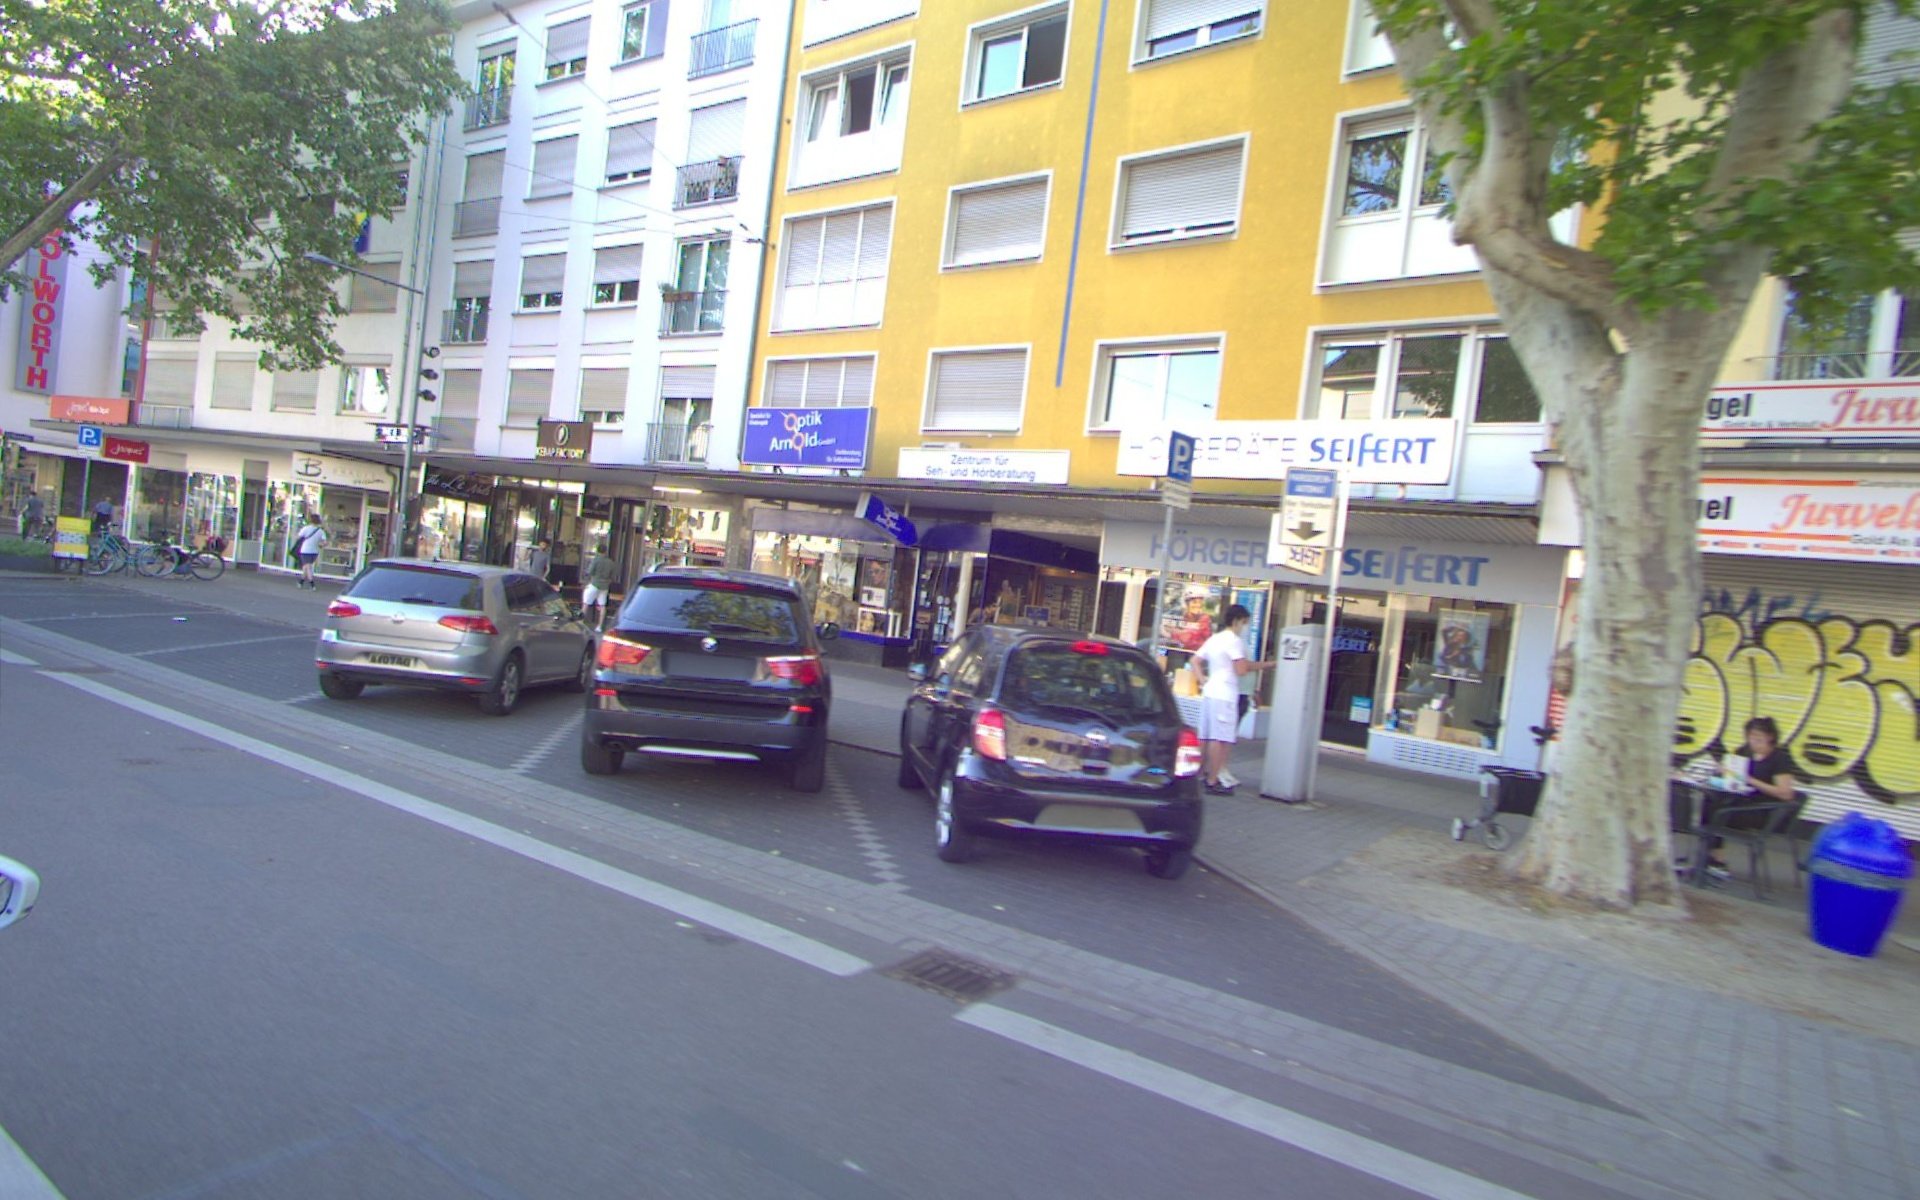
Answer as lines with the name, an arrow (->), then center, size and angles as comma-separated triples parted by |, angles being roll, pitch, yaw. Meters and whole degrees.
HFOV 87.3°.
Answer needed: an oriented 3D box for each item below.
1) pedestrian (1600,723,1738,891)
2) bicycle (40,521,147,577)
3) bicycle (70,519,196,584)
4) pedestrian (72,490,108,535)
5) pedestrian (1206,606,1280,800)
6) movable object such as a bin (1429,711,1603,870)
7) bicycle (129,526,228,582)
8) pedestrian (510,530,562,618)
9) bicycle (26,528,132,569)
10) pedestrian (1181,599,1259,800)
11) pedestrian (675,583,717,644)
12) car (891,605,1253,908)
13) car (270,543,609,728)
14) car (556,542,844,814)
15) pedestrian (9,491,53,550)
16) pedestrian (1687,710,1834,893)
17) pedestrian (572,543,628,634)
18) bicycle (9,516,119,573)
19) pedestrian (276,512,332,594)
pedestrian -> 5.533, 1.586, 7.891 | 0.738, 1.128, 0.584 | 7, -1, 32
bicycle -> -20.559, -1.194, 23.912 | 0.660, 1.205, 1.788 | 6, 2, 23
bicycle -> -19.193, -1.110, 23.399 | 0.818, 1.248, 2.079 | 7, 1, 36
pedestrian -> -36.014, -3.617, 41.652 | 0.820, 1.700, 0.749 | 9, 2, 26
pedestrian -> 2.836, 1.012, 10.118 | 0.466, 1.855, 0.517 | 6, 1, 10
movable object such as a bin -> 4.448, 1.501, 8.125 | 0.824, 1.035, 0.930 | 7, -1, 5
bicycle -> -18.973, -1.094, 24.462 | 0.668, 1.169, 1.761 | 7, 2, 40
pedestrian -> -9.720, -0.595, 23.100 | 0.725, 1.900, 0.912 | 6, 1, -10
bicycle -> -22.103, -1.283, 25.270 | 0.701, 0.775, 1.874 | 8, 0, 40
pedestrian -> 2.505, 0.945, 9.742 | 0.466, 1.855, 0.517 | 6, 1, 5
pedestrian -> -5.402, 0.285, 20.576 | 0.615, 1.171, 0.418 | 7, 1, 35
car -> 0.546, 0.938, 7.601 | 1.712, 1.559, 3.603 | 6, 0, -8
car -> -5.395, 0.325, 11.131 | 1.777, 1.469, 4.173 | 6, 0, -6
car -> -2.072, 0.540, 8.984 | 1.778, 1.702, 4.145 | 6, 0, -8
pedestrian -> -31.038, -2.650, 33.620 | 0.751, 1.816, 0.781 | 7, 1, 32
pedestrian -> 6.427, 1.590, 8.121 | 0.746, 1.290, 0.584 | 7, -1, 32
pedestrian -> -7.487, -0.234, 20.914 | 0.776, 1.816, 0.705 | 7, 4, 38
bicycle -> -21.535, -1.316, 24.208 | 0.701, 1.205, 1.872 | 7, 3, 40
pedestrian -> -16.169, -1.145, 24.816 | 0.809, 1.900, 0.645 | 7, 1, 18
